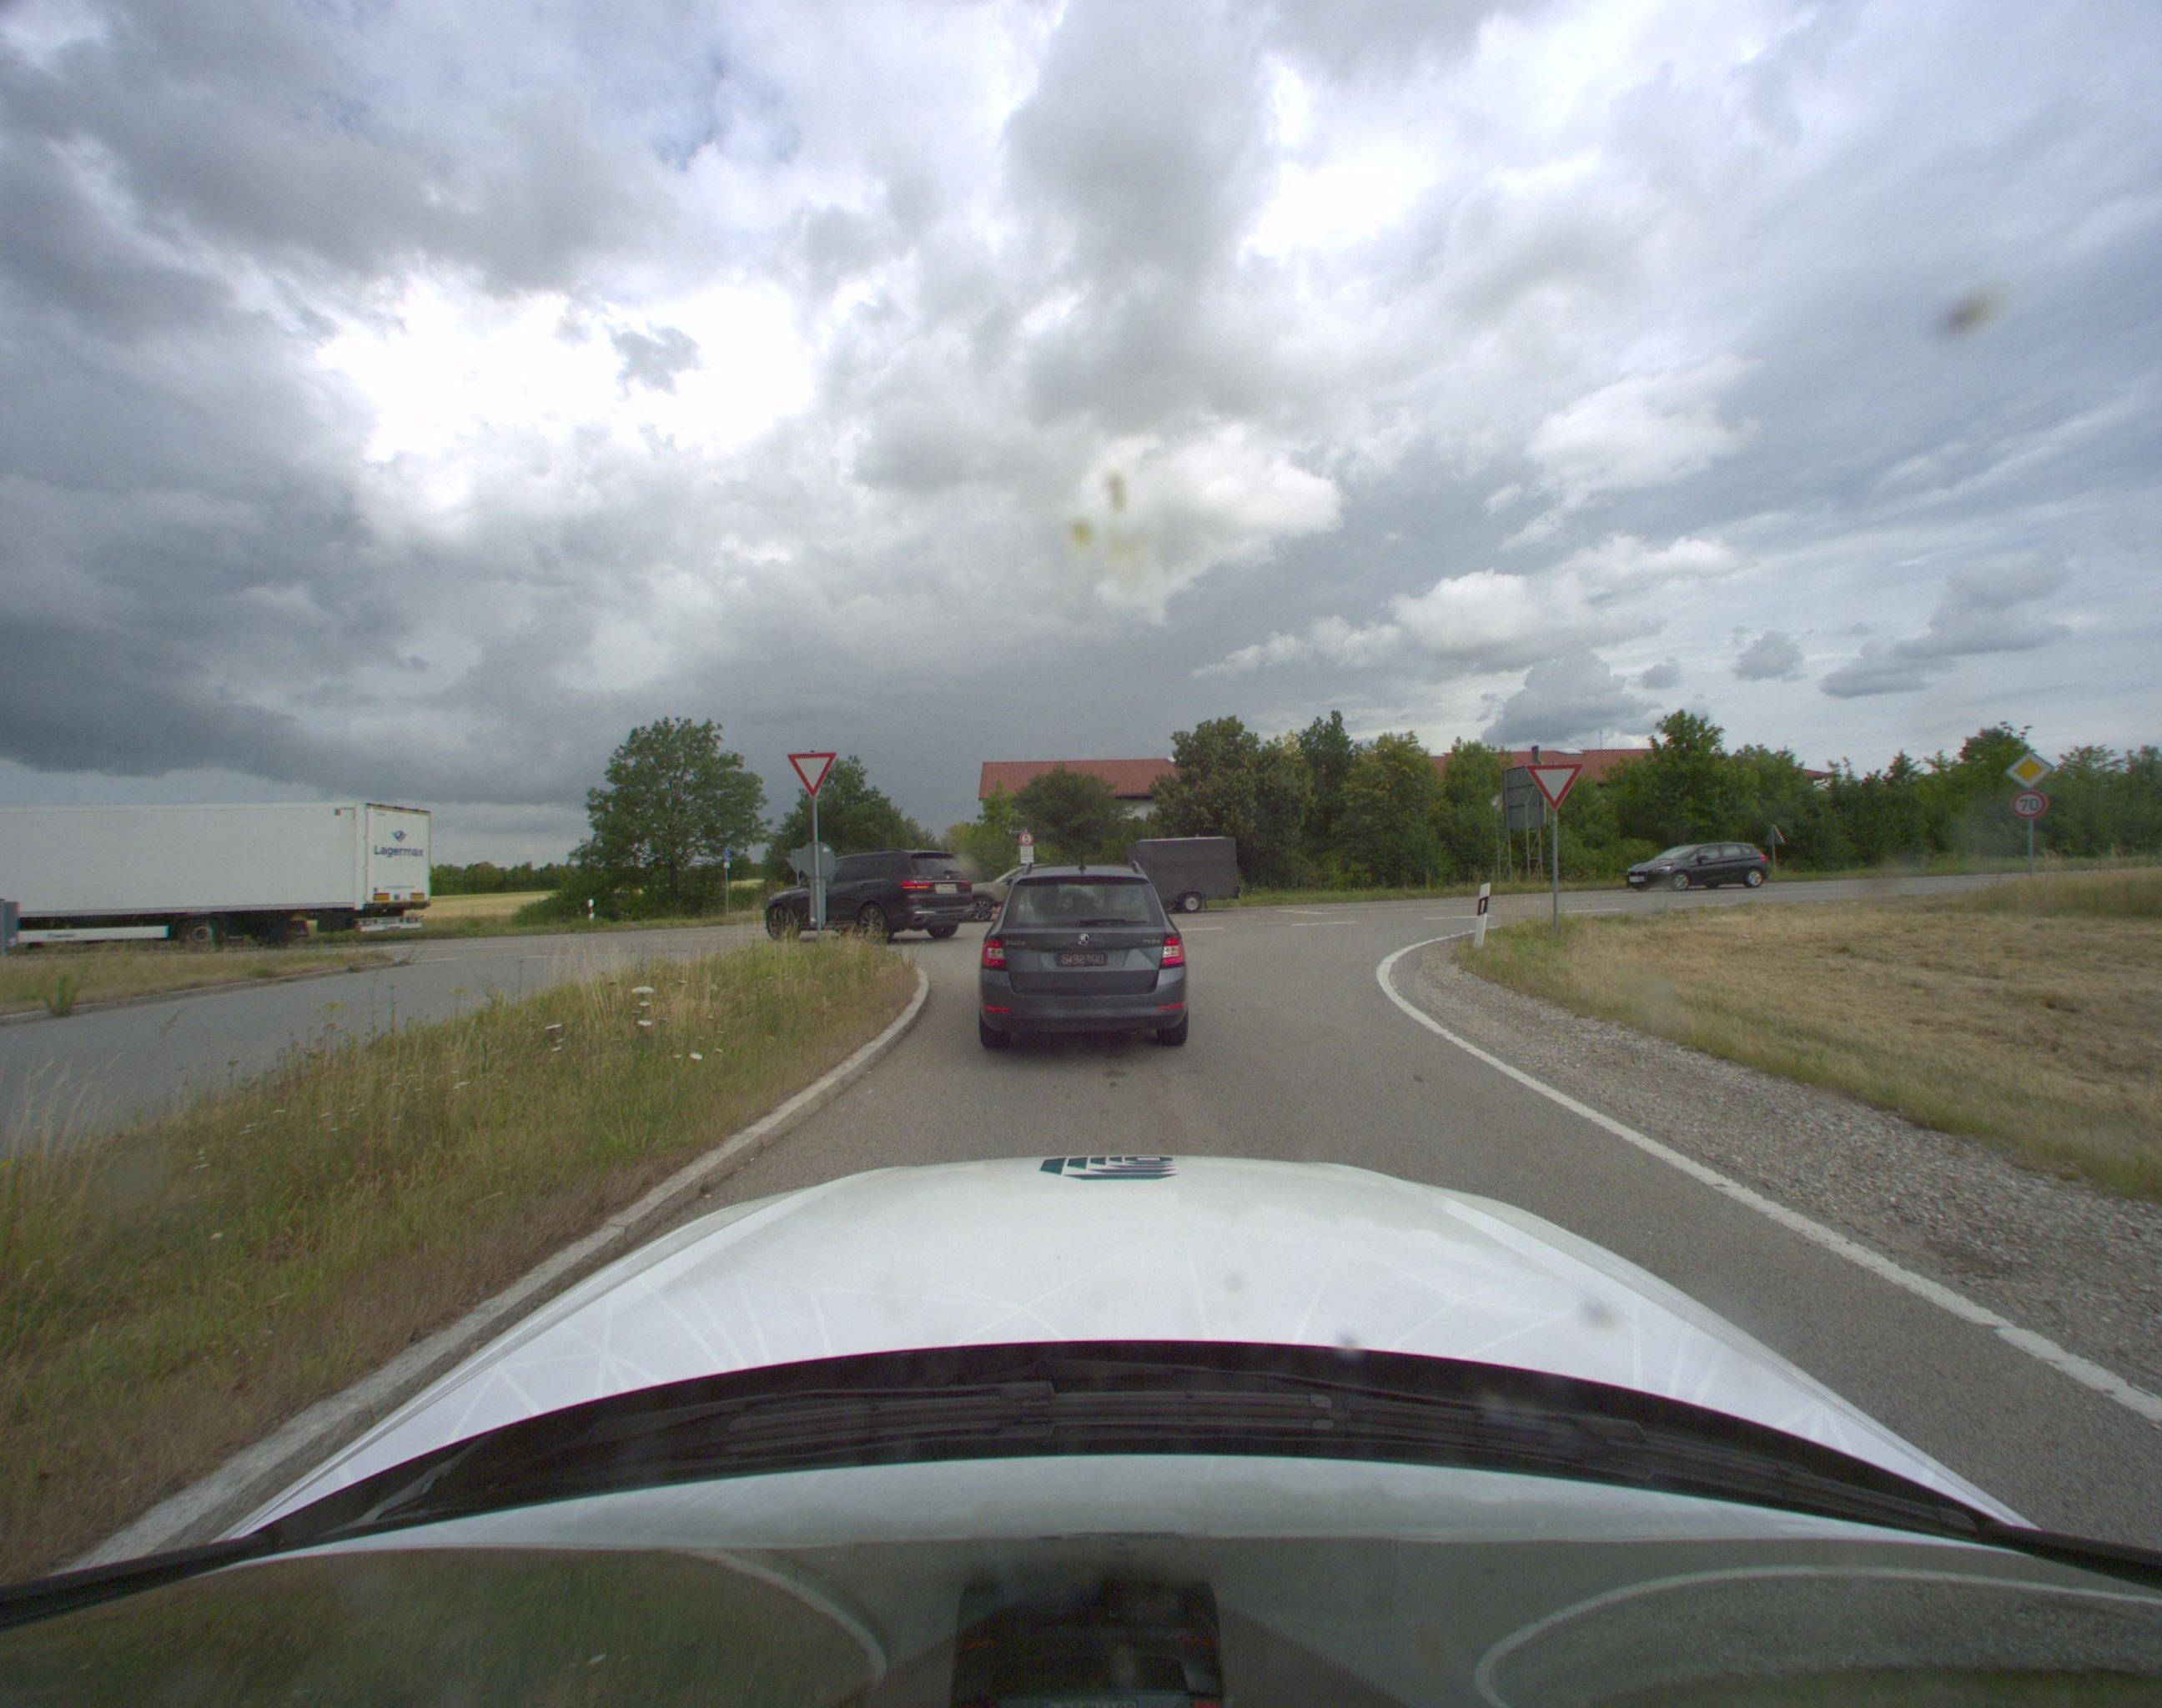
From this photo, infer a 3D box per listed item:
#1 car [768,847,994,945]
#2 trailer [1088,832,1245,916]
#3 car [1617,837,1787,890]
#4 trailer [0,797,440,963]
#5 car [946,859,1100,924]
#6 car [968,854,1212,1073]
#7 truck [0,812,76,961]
[{"bbox_3d":[-4.221,0.852,16.879,4.583,1.774,2.013,-3,-2,35],"label":"car"},{"bbox_3d":[2.590,0.620,25.531,4.379,2.292,2.410,-3,-2,-8],"label":"trailer"},{"bbox_3d":[20.681,0.326,27.226,4.282,1.487,1.995,-3,-1,-7],"label":"car"},{"bbox_3d":[-26.373,0.793,22.587,13.825,4.015,3.121,-2,-2,-7],"label":"trailer"},{"bbox_3d":[-1.800,1.113,24.837,4.462,1.682,1.994,-3,-2,-9],"label":"car"},{"bbox_3d":[-0.074,0.780,7.513,1.673,1.463,3.701,-1,-1,-5],"label":"car"},{"bbox_3d":[-32.828,1.009,21.823,7.275,4.015,3.122,-2,-2,-6],"label":"truck"}]
